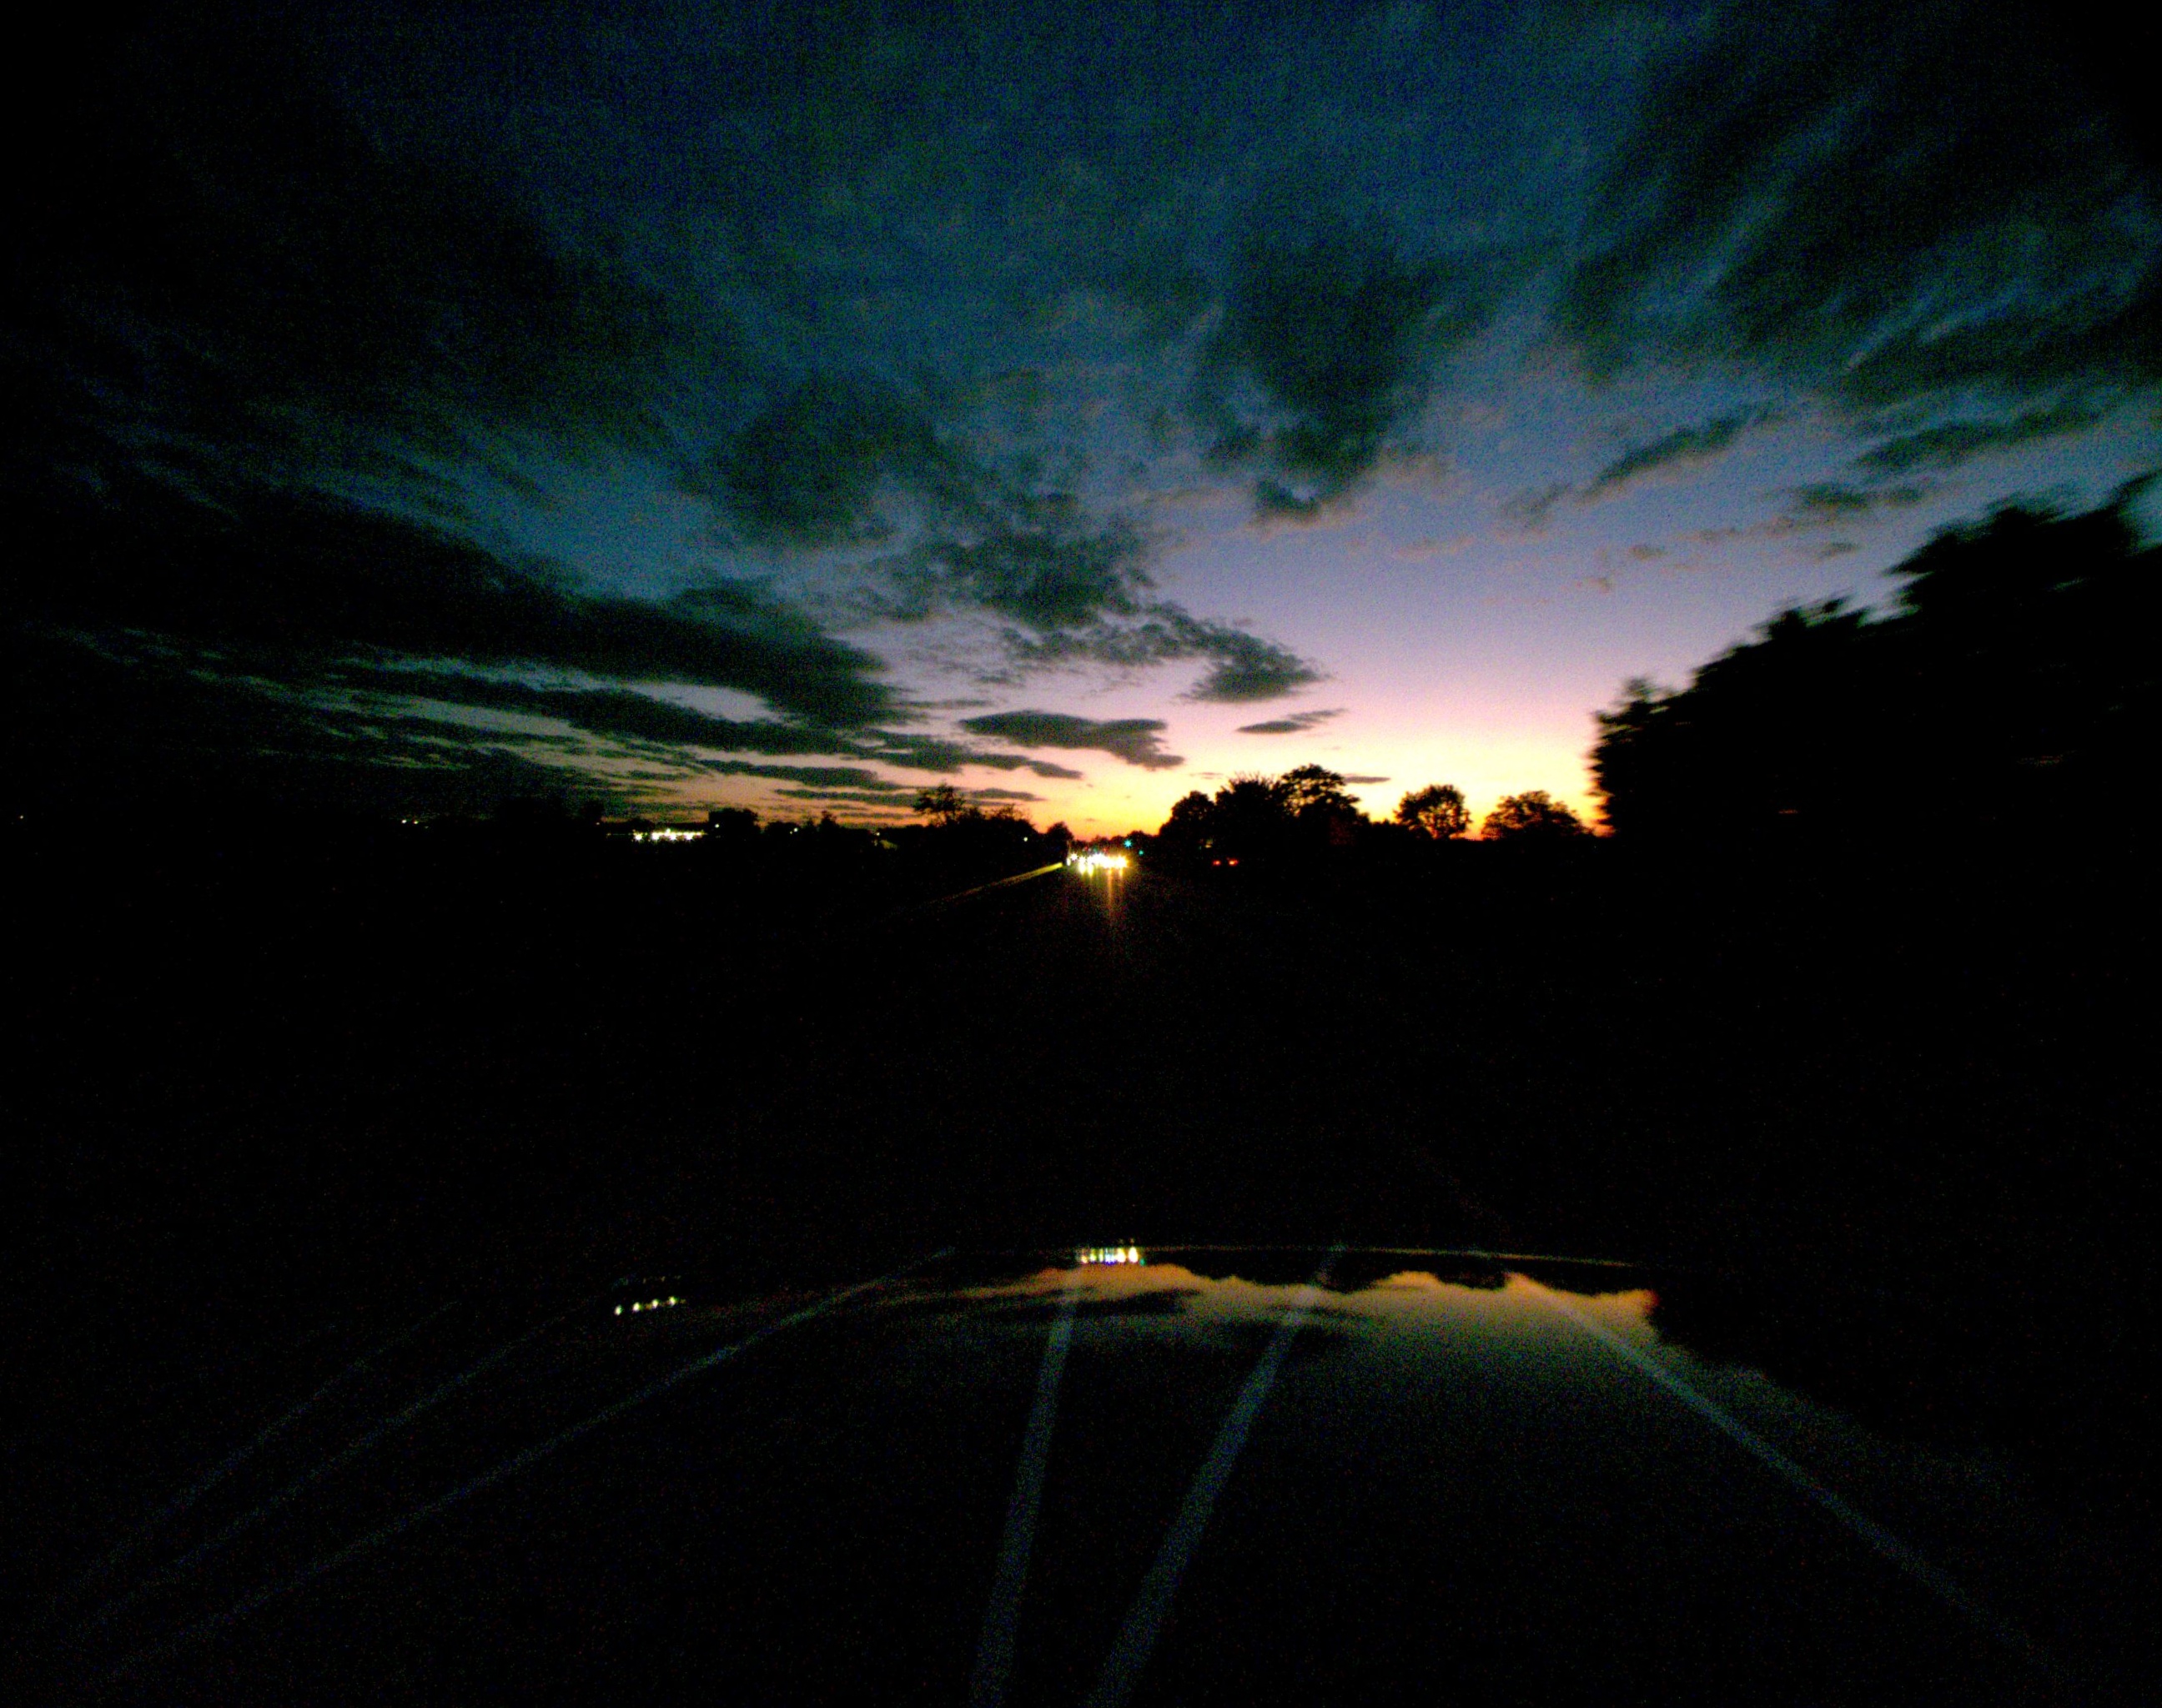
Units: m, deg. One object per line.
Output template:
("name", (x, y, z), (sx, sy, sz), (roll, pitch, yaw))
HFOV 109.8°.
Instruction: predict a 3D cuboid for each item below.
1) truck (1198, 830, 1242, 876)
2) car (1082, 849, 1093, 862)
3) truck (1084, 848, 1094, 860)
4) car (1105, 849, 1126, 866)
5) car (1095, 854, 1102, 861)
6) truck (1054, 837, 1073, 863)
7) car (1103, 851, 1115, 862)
("truck", (17.120, -0.171, 94.562), (3.210, 5.226, 12.607), (-2, 1, 0))
("car", (1.013, 0.263, 127.068), (1.741, 2.002, 4.000), (-2, 0, 0))
("truck", (2.606, 0.063, 246.526), (3.016, 3.674, 9.057), (-2, 1, 0))
("car", (3.545, 0.334, 78.831), (1.998, 1.635, 4.296), (-2, 1, 0))
("car", (5.385, 1.018, 232.240), (1.998, 2.002, 4.000), (-2, 1, 2))
("truck", (-2.613, -0.606, 115.852), (2.490, 3.778, 5.498), (-2, 1, 2))
("car", (4.745, 0.369, 129.363), (1.998, 1.778, 4.000), (-2, 1, 1))
